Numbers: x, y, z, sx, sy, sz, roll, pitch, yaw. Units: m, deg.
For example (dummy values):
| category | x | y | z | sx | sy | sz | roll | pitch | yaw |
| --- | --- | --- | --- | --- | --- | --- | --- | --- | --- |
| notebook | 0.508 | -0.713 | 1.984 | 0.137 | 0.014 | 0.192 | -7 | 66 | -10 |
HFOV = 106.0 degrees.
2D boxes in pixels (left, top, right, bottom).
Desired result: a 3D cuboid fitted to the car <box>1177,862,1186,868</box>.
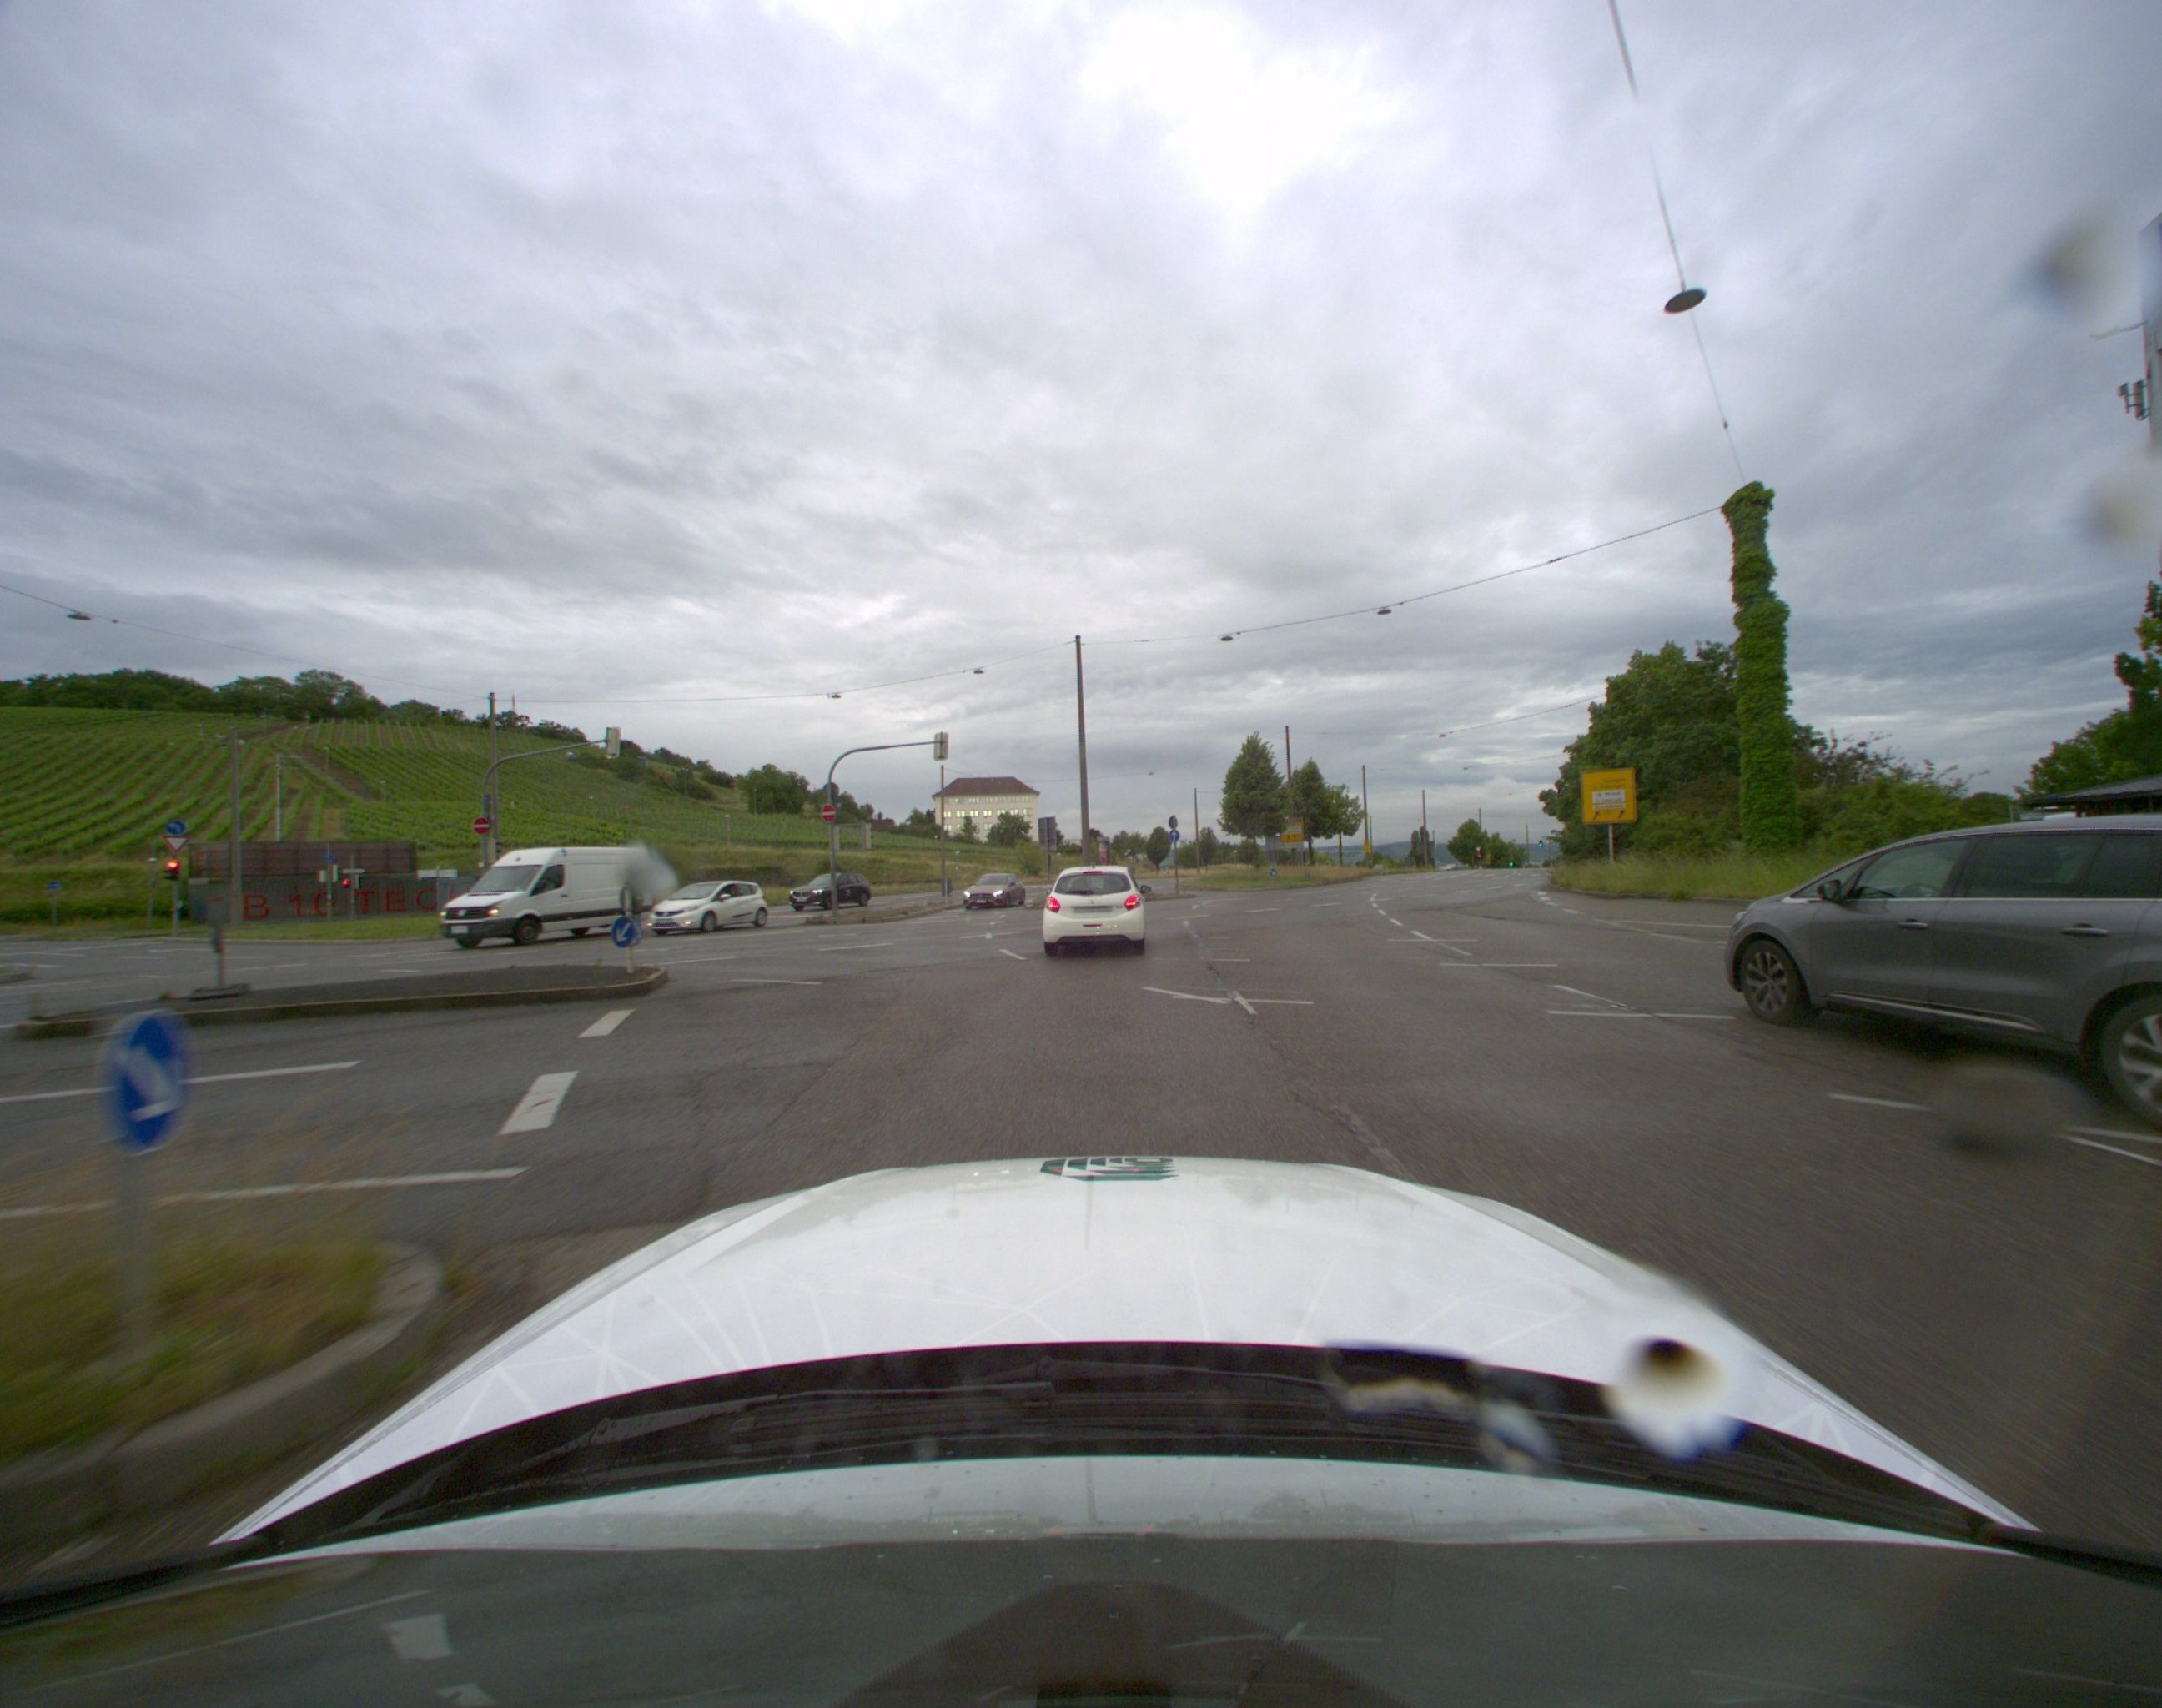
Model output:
| category | x | y | z | sx | sy | sz | roll | pitch | yaw |
| --- | --- | --- | --- | --- | --- | --- | --- | --- | --- |
| car | 25.690 | 2.765 | 207.564 | 1.834 | 1.486 | 4.002 | -2 | 0 | 2 |

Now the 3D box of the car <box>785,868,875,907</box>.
| category | x | y | z | sx | sy | sz | roll | pitch | yaw |
| --- | --- | --- | --- | --- | --- | --- | --- | --- | --- |
| car | -11.481 | 1.506 | 37.614 | 1.762 | 1.636 | 4.527 | -1 | -1 | 16 |

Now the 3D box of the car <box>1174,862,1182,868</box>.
| category | x | y | z | sx | sy | sz | roll | pitch | yaw |
| --- | --- | --- | --- | --- | --- | --- | --- | --- | --- |
| car | 25.655 | 2.866 | 215.972 | 1.834 | 1.486 | 4.002 | -2 | 0 | 2 |

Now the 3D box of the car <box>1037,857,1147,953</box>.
| category | x | y | z | sx | sy | sz | roll | pitch | yaw |
| --- | --- | --- | --- | --- | --- | --- | --- | --- | --- |
| car | 0.316 | 0.834 | 14.937 | 1.710 | 1.489 | 4.004 | -2 | -1 | 4 |

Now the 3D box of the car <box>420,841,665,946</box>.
| category | x | y | z | sx | sy | sz | roll | pitch | yaw |
| --- | --- | --- | --- | --- | --- | --- | --- | --- | --- |
| car | -14.916 | 1.014 | 23.198 | 1.981 | 2.559 | 6.188 | -2 | -1 | 11 |

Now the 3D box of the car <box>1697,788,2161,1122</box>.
| category | x | y | z | sx | sy | sz | roll | pitch | yaw |
| --- | --- | --- | --- | --- | --- | --- | --- | --- | --- |
| car | 6.503 | 0.486 | 5.362 | 1.855 | 1.674 | 4.575 | -2 | 0 | 7 |

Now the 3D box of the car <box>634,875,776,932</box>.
| category | x | y | z | sx | sy | sz | roll | pitch | yaw |
| --- | --- | --- | --- | --- | --- | --- | --- | --- | --- |
| car | -11.160 | 1.422 | 24.507 | 1.738 | 1.513 | 4.015 | -1 | -1 | 14 |

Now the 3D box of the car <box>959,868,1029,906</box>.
| category | x | y | z | sx | sy | sz | roll | pitch | yaw |
| --- | --- | --- | --- | --- | --- | --- | --- | --- | --- |
| car | -3.595 | 1.352 | 34.443 | 1.765 | 1.425 | 4.384 | -3 | -1 | 9 |
